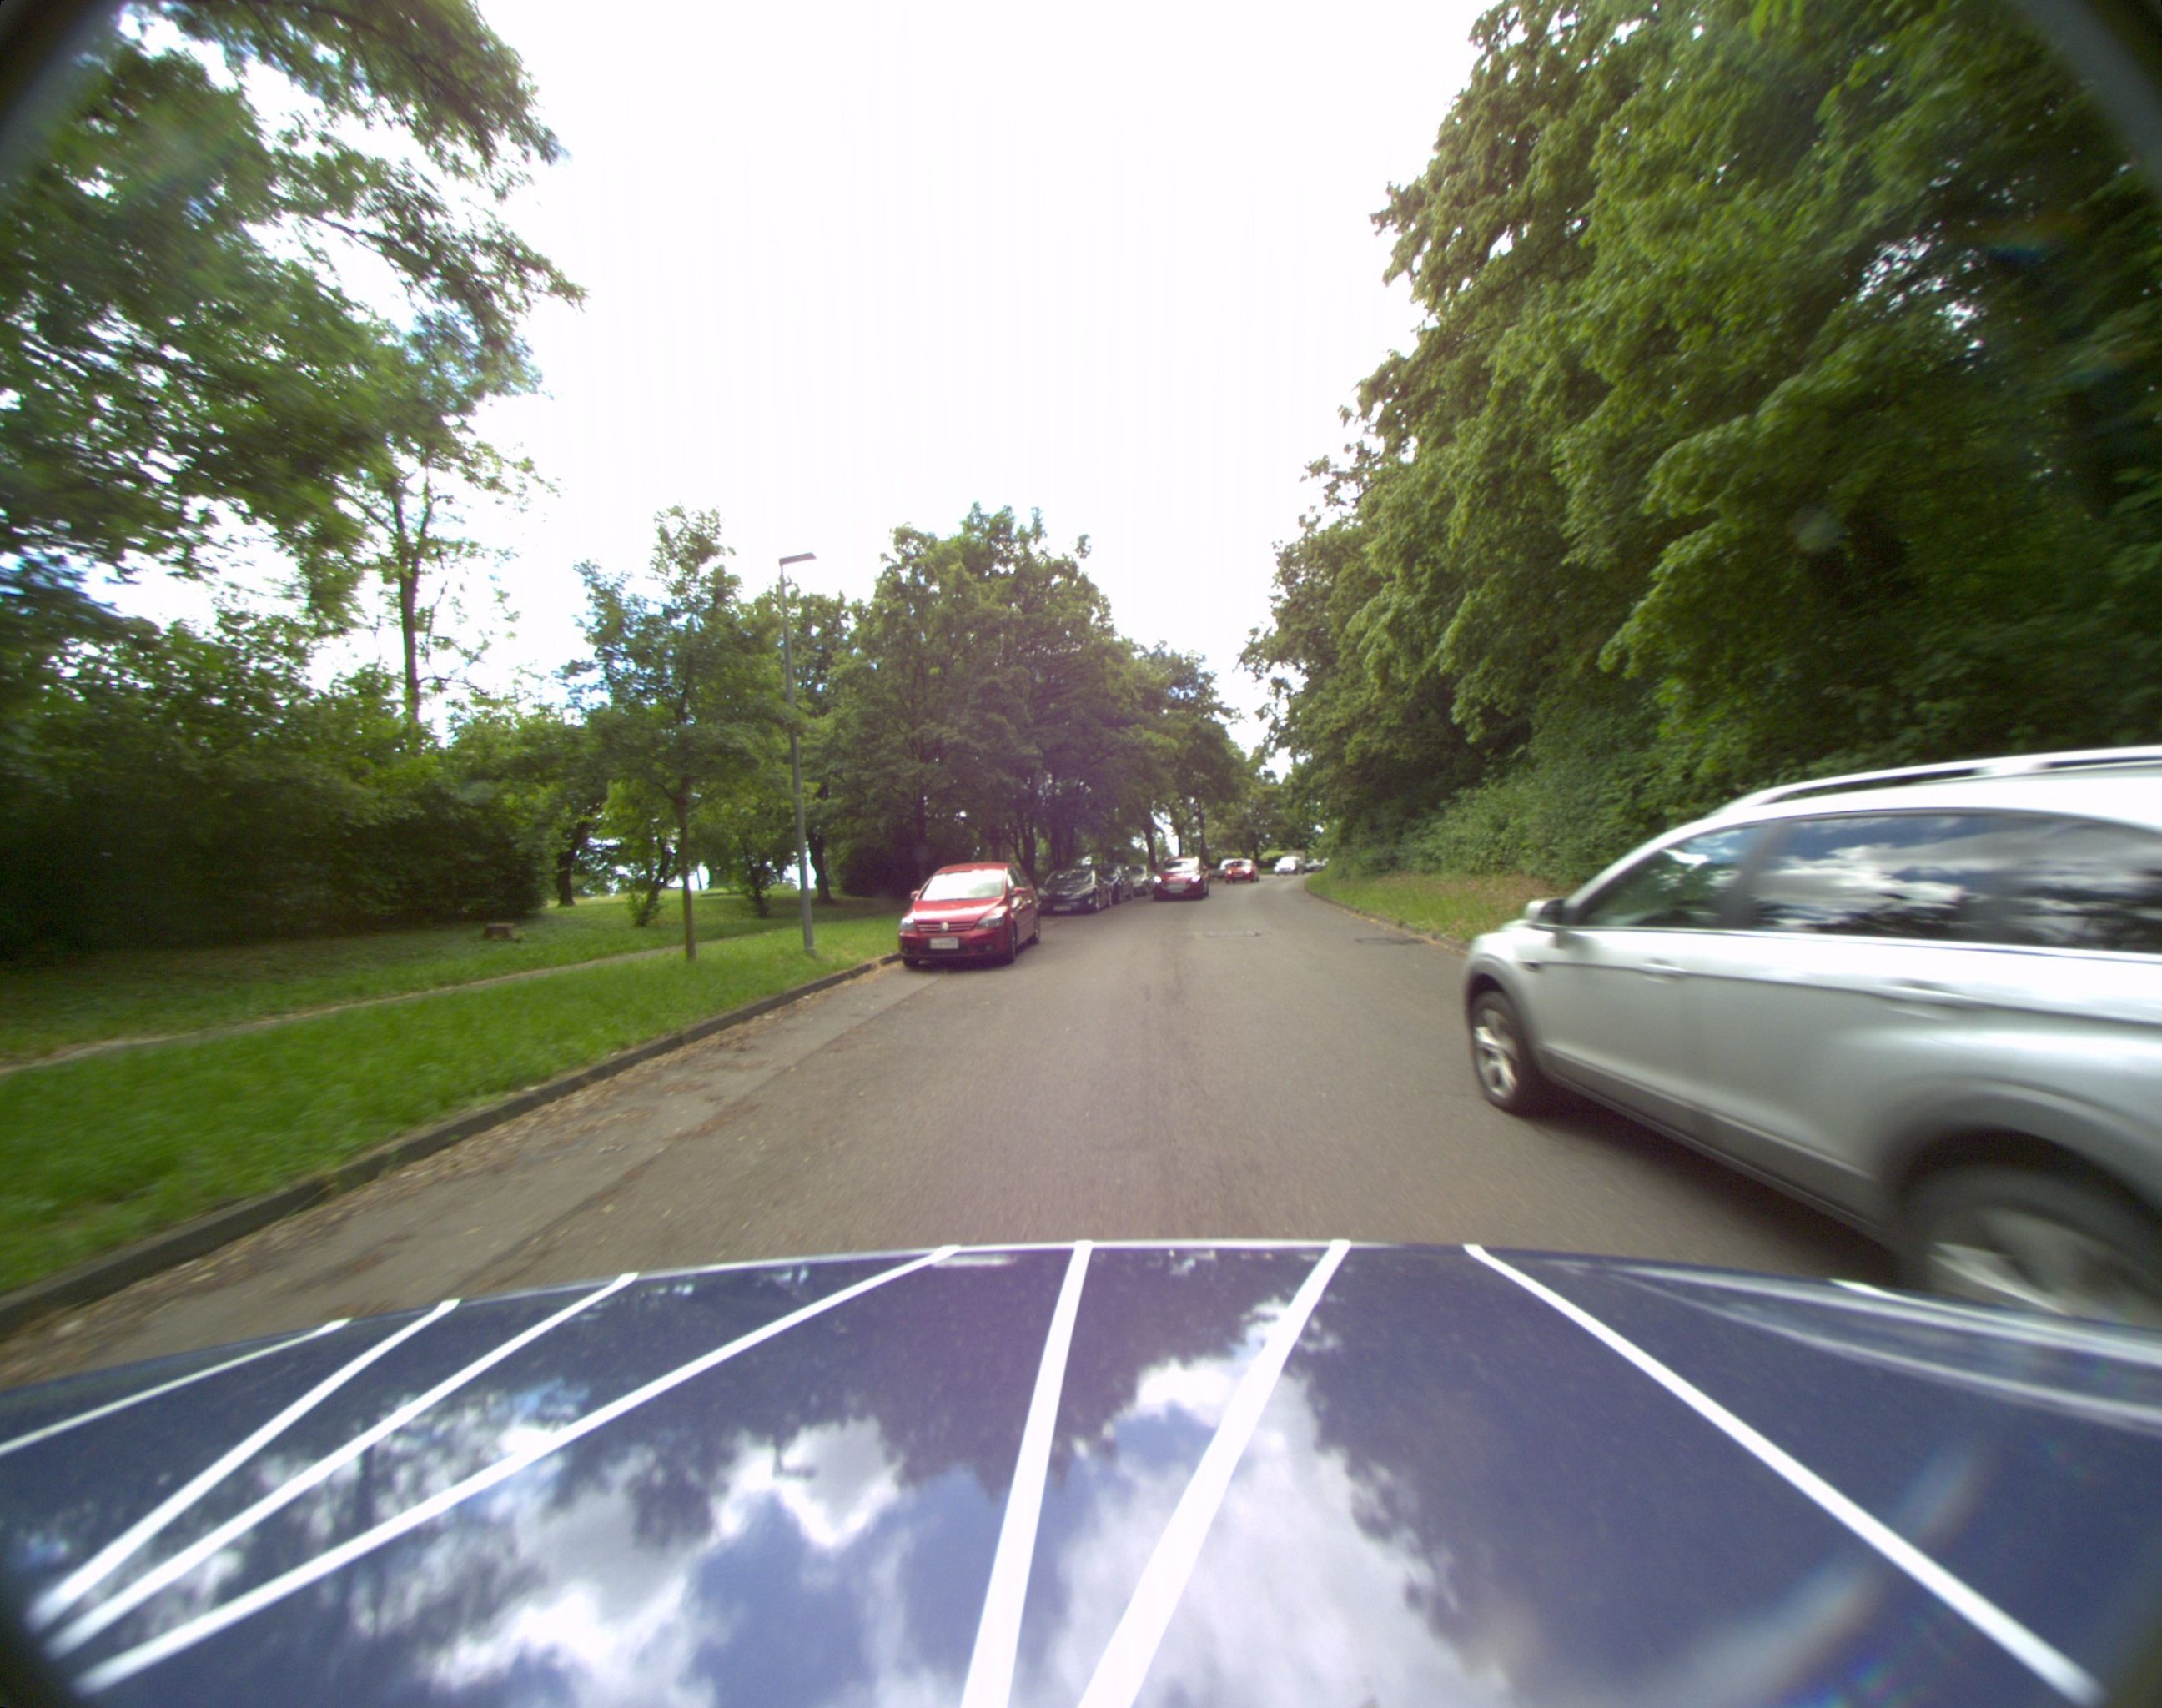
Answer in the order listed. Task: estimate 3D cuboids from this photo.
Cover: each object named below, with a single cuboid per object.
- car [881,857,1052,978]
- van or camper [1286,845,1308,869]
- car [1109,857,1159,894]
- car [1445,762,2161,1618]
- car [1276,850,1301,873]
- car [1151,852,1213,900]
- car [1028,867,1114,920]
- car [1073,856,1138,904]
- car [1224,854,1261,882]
[{"bbox_3d":[-1.712,0.909,13.022,1.714,1.543,4.678,-3,1,6],"label":"car"},{"bbox_3d":[22.847,0.277,80.447,1.996,2.330,5.034,-3,1,15],"label":"van or camper"},{"bbox_3d":[2.534,0.938,35.086,1.713,1.413,4.680,-3,1,11],"label":"car"},{"bbox_3d":[3.139,0.662,2.655,1.824,1.718,4.312,0,1,3],"label":"car"},{"bbox_3d":[18.154,0.636,66.493,1.956,1.829,4.681,-3,1,15],"label":"car"},{"bbox_3d":[4.054,0.794,29.921,2.002,1.599,4.680,-3,1,12],"label":"car"},{"bbox_3d":[-0.179,1.136,23.477,1.713,1.249,4.680,-3,1,11],"label":"car"},{"bbox_3d":[1.041,0.931,29.008,1.713,1.502,4.680,-3,1,11],"label":"car"},{"bbox_3d":[10.157,0.829,47.604,1.956,1.464,4.681,-3,1,15],"label":"car"}]
